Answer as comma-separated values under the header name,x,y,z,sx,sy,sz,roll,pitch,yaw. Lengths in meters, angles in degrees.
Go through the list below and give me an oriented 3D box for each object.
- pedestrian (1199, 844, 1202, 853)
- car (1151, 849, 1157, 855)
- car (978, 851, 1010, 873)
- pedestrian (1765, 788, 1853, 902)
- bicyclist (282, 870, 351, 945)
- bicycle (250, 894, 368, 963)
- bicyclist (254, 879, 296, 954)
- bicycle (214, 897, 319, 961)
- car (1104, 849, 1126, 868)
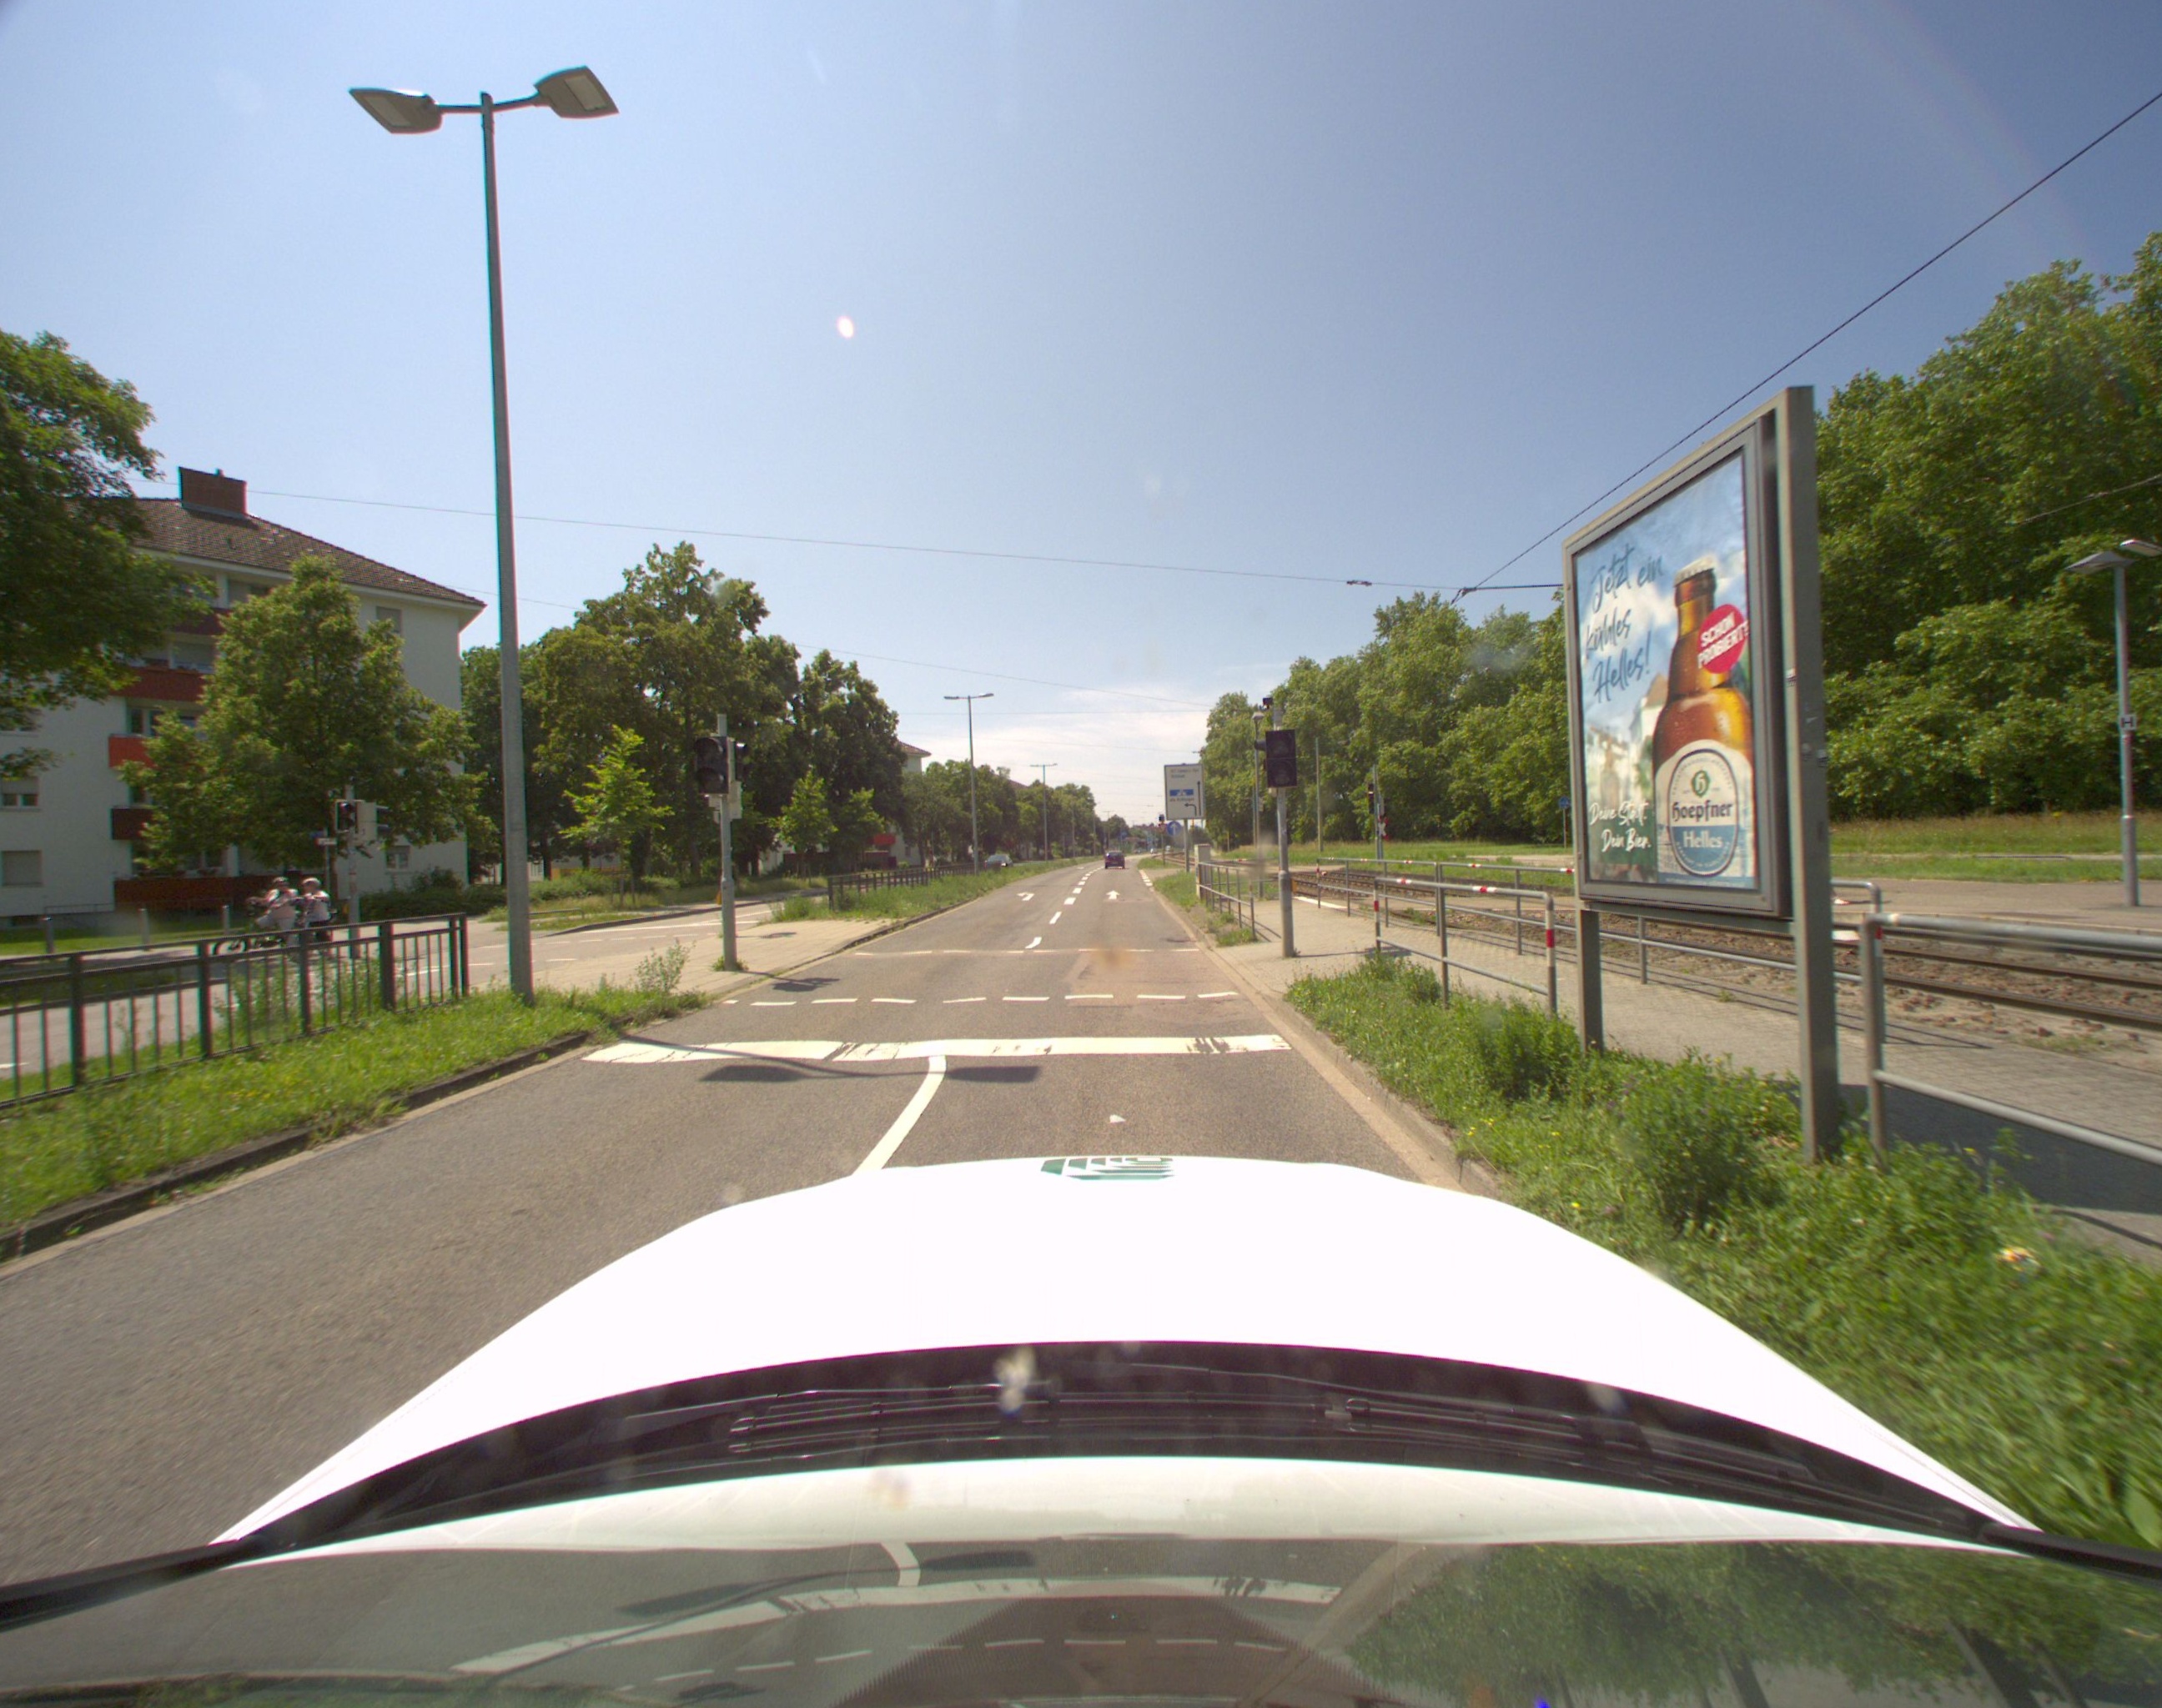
name,x,y,z,sx,sy,sz,roll,pitch,yaw
pedestrian,24.431,-1.180,166.368,0.658,1.726,0.818,-2,0,9
car,20.818,-0.564,232.217,1.695,1.480,3.721,0,0,5
car,-6.674,0.617,63.019,1.749,1.543,4.164,-3,0,2
pedestrian,11.624,-0.136,13.027,0.635,1.759,0.813,-1,-1,-11
bicyclist,-14.536,1.004,15.501,0.542,1.345,0.755,-3,0,1
bicycle,-14.540,1.372,15.405,0.586,1.133,1.616,-3,0,3
bicyclist,-15.444,1.185,15.606,0.356,1.392,0.441,0,0,5
bicycle,-15.458,1.406,15.491,0.551,1.094,1.381,-1,-1,4
car,2.839,0.364,67.348,1.696,1.477,3.719,-3,0,3
